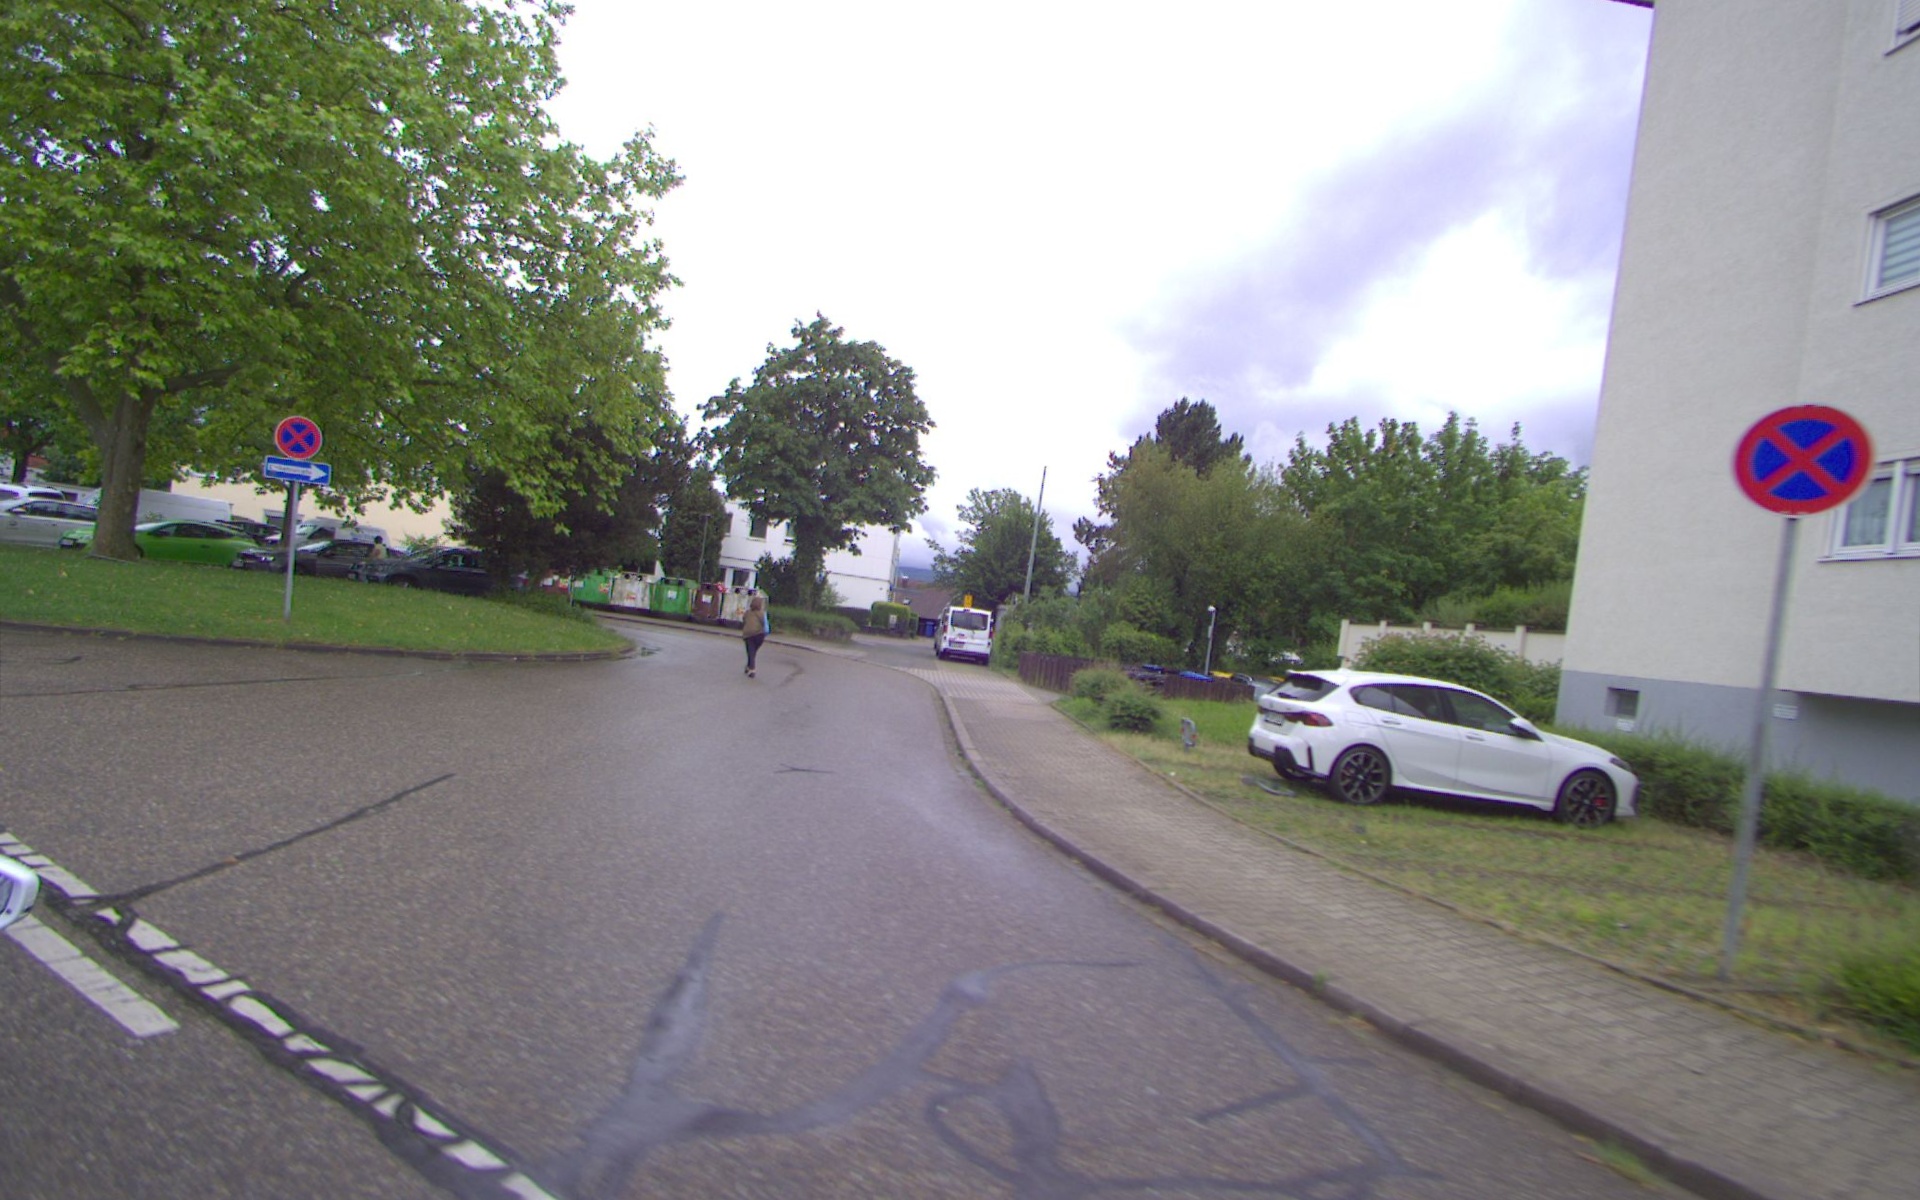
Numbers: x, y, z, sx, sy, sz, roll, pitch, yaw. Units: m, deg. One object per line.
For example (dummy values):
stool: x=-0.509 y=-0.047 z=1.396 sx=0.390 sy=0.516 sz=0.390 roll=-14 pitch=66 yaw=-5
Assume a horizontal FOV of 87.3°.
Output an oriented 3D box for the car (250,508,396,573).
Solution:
car: x=-26.664 y=-2.445 z=42.318 sx=1.964 sy=2.038 sz=4.762 roll=7 pitch=0 yaw=25

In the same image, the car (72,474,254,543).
car: x=-34.193 y=-3.878 z=43.425 sx=1.963 sy=2.038 sz=5.838 roll=7 pitch=0 yaw=21

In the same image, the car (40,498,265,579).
car: x=-20.377 y=-1.501 z=25.579 sx=1.733 sy=1.460 sz=4.019 roll=7 pitch=0 yaw=26

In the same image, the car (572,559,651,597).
car: x=-19.222 y=-1.185 z=55.621 sx=1.674 sy=1.548 sz=3.635 roll=7 pitch=-1 yaw=43

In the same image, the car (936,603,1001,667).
car: x=0.244 y=1.267 z=38.174 sx=2.048 sy=2.038 sz=4.996 roll=8 pitch=-1 yaw=-1

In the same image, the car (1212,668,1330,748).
car: x=9.867 y=3.379 z=32.388 sx=1.966 sy=1.845 sz=4.929 roll=8 pitch=-1 yaw=-1

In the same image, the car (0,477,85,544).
car: x=-32.448 y=-3.186 z=33.816 sx=4.134 sy=1.904 sz=2.000 roll=7 pitch=0 yaw=1

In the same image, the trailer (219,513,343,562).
trailer: x=-29.074 y=-2.670 z=43.213 sx=1.684 sy=1.454 sz=3.993 roll=7 pitch=-1 yaw=32

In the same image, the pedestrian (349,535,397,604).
pedestrian: x=-15.146 y=-0.789 z=25.975 sx=0.578 sy=1.672 sz=0.738 roll=8 pitch=1 yaw=35

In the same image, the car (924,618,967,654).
car: x=-0.648 y=1.635 z=46.882 sx=1.725 sy=1.383 sz=4.000 roll=8 pitch=-1 yaw=0

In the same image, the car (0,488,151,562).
car: x=-23.609 y=-2.000 z=25.402 sx=1.733 sy=1.460 sz=4.584 roll=7 pitch=0 yaw=26

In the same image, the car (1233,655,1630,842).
car: x=5.378 y=1.677 z=11.777 sx=3.702 sy=1.499 sz=1.744 roll=7 pitch=0 yaw=-5

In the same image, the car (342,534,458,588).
car: x=-23.850 y=-1.633 z=42.956 sx=1.792 sy=1.795 sz=3.900 roll=7 pitch=0 yaw=25

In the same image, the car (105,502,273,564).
car: x=-25.940 y=-2.219 z=33.964 sx=4.112 sy=1.399 sz=1.765 roll=8 pitch=0 yaw=-4

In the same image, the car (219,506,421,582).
car: x=-16.424 y=-1.389 z=26.037 sx=1.733 sy=1.388 sz=4.019 roll=7 pitch=0 yaw=26

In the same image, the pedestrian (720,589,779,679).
pedestrian: x=-4.087 y=0.652 z=19.457 sx=0.729 sy=1.602 sz=0.944 roll=7 pitch=-1 yaw=-26

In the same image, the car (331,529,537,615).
car: x=-13.480 y=-0.673 z=25.971 sx=1.740 sy=1.646 sz=4.273 roll=7 pitch=0 yaw=42

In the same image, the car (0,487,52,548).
car: x=-26.400 y=-2.374 z=25.535 sx=1.733 sy=1.460 sz=4.584 roll=7 pitch=0 yaw=26
